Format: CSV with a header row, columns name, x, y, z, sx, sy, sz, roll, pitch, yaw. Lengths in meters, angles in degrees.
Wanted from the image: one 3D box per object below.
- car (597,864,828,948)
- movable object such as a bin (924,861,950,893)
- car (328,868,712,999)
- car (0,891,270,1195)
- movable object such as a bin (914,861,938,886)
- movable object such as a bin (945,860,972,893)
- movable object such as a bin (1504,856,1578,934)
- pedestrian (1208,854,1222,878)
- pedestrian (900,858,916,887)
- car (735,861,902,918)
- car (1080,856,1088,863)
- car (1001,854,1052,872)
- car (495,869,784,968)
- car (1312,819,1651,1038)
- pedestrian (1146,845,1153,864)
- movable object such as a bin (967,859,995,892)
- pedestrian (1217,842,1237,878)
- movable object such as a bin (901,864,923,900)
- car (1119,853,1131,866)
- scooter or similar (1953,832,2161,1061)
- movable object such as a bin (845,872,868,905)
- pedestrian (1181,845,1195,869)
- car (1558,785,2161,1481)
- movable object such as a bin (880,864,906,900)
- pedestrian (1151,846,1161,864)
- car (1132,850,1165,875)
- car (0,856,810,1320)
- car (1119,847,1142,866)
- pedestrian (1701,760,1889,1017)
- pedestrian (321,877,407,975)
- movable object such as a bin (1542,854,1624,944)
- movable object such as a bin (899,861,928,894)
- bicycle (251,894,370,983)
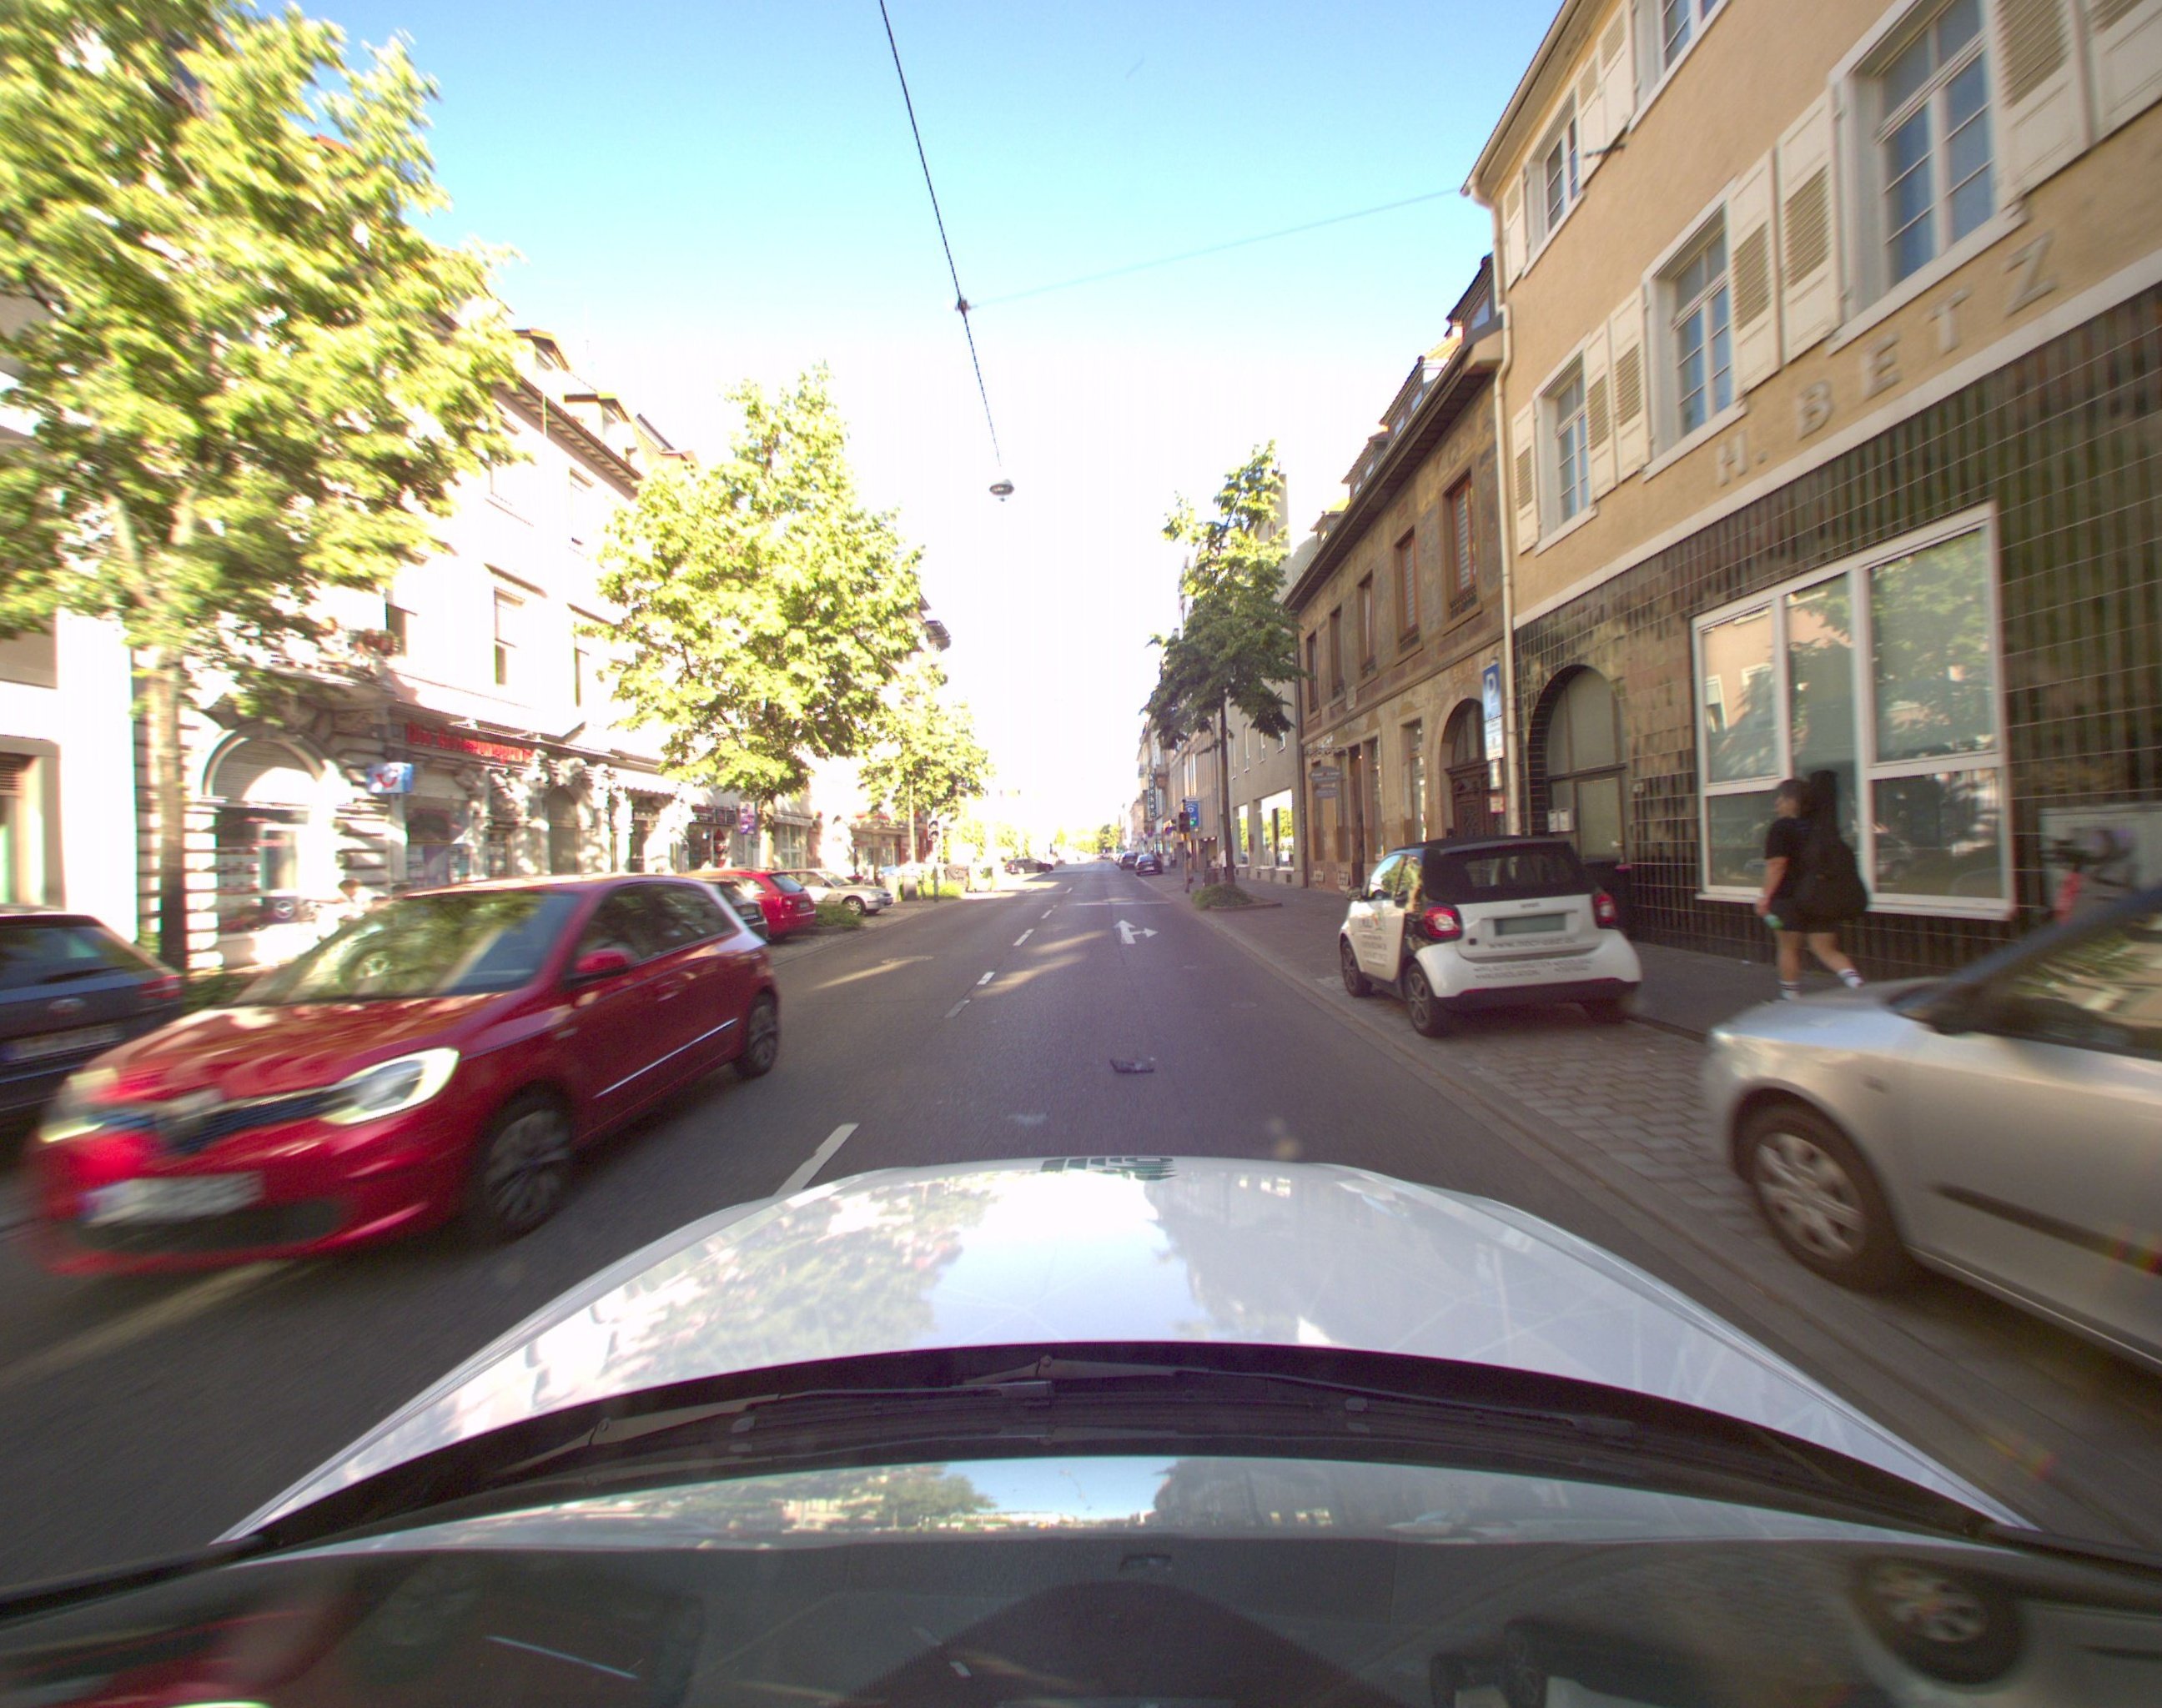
name,x,y,z,sx,sy,sz,roll,pitch,yaw
car,-7.218,0.986,16.218,3.735,1.468,1.740,-1,0,1
movable object such as a bin,-6.795,1.082,38.421,0.960,1.471,1.143,-2,0,0
car,-7.324,1.002,10.915,3.903,1.485,1.772,-1,0,2
car,-7.664,0.997,4.475,4.481,1.458,1.789,-1,0,-2
movable object such as a bin,-8.665,1.069,45.507,1.038,1.345,1.314,-3,0,0
movable object such as a bin,-5.784,1.054,38.437,1.038,1.471,1.143,-3,0,0
movable object such as a bin,6.588,0.568,11.695,0.586,1.040,0.722,-4,0,2
pedestrian,6.022,0.531,36.583,0.392,1.033,0.740,-5,0,0
pedestrian,-10.033,1.067,47.270,0.662,1.659,1.037,-2,0,1
car,-7.506,1.001,23.525,4.185,1.468,1.741,-1,0,3
car,0.953,1.555,228.500,1.985,1.771,4.003,-1,1,3
car,-4.943,0.824,73.881,4.292,1.487,1.919,-2,0,-39
car,-7.271,1.030,13.684,3.825,1.429,1.791,-1,0,2
car,3.440,0.558,7.636,1.608,1.528,3.061,-4,0,1
pedestrian,6.534,0.073,77.872,0.617,1.766,0.519,-2,0,4
movable object such as a bin,-4.716,1.019,38.430,1.038,1.471,1.452,-3,0,0
pedestrian,6.558,0.249,36.684,0.578,1.559,1.020,-5,0,0
movable object such as a bin,-6.559,1.077,31.572,0.632,1.341,0.805,-3,0,0
car,5.822,0.714,107.381,1.607,1.546,2.857,-1,0,3
scooter or similar,5.864,0.482,4.677,0.398,1.187,1.168,-4,0,3
movable object such as a bin,-7.723,1.188,28.038,0.529,1.069,0.805,-3,0,0
pedestrian,7.366,0.211,56.034,0.689,1.635,0.889,-4,0,1
car,3.183,0.586,1.875,1.608,1.528,4.235,-5,0,1
movable object such as a bin,-7.279,1.086,31.540,0.752,1.341,0.805,-3,0,0
pedestrian,7.137,0.090,77.814,0.797,1.675,0.590,-4,-1,4
car,4.697,0.549,57.400,1.910,1.478,4.966,-6,0,2
car,-3.140,0.844,4.773,1.652,1.535,3.762,-4,0,2
car,4.653,0.189,76.810,1.966,1.725,4.826,-1,0,2
pedestrian,5.324,0.242,6.125,0.620,1.765,0.771,-4,0,2
pedestrian,-10.846,1.069,12.340,0.505,1.408,0.826,-1,0,6
movable object such as a bin,6.206,0.537,10.101,0.520,1.040,0.722,-4,0,2
movable object such as a bin,-7.893,1.091,38.422,1.038,1.471,1.143,-3,0,0
bicycle,-11.425,1.221,12.119,0.454,1.192,1.299,0,0,5
